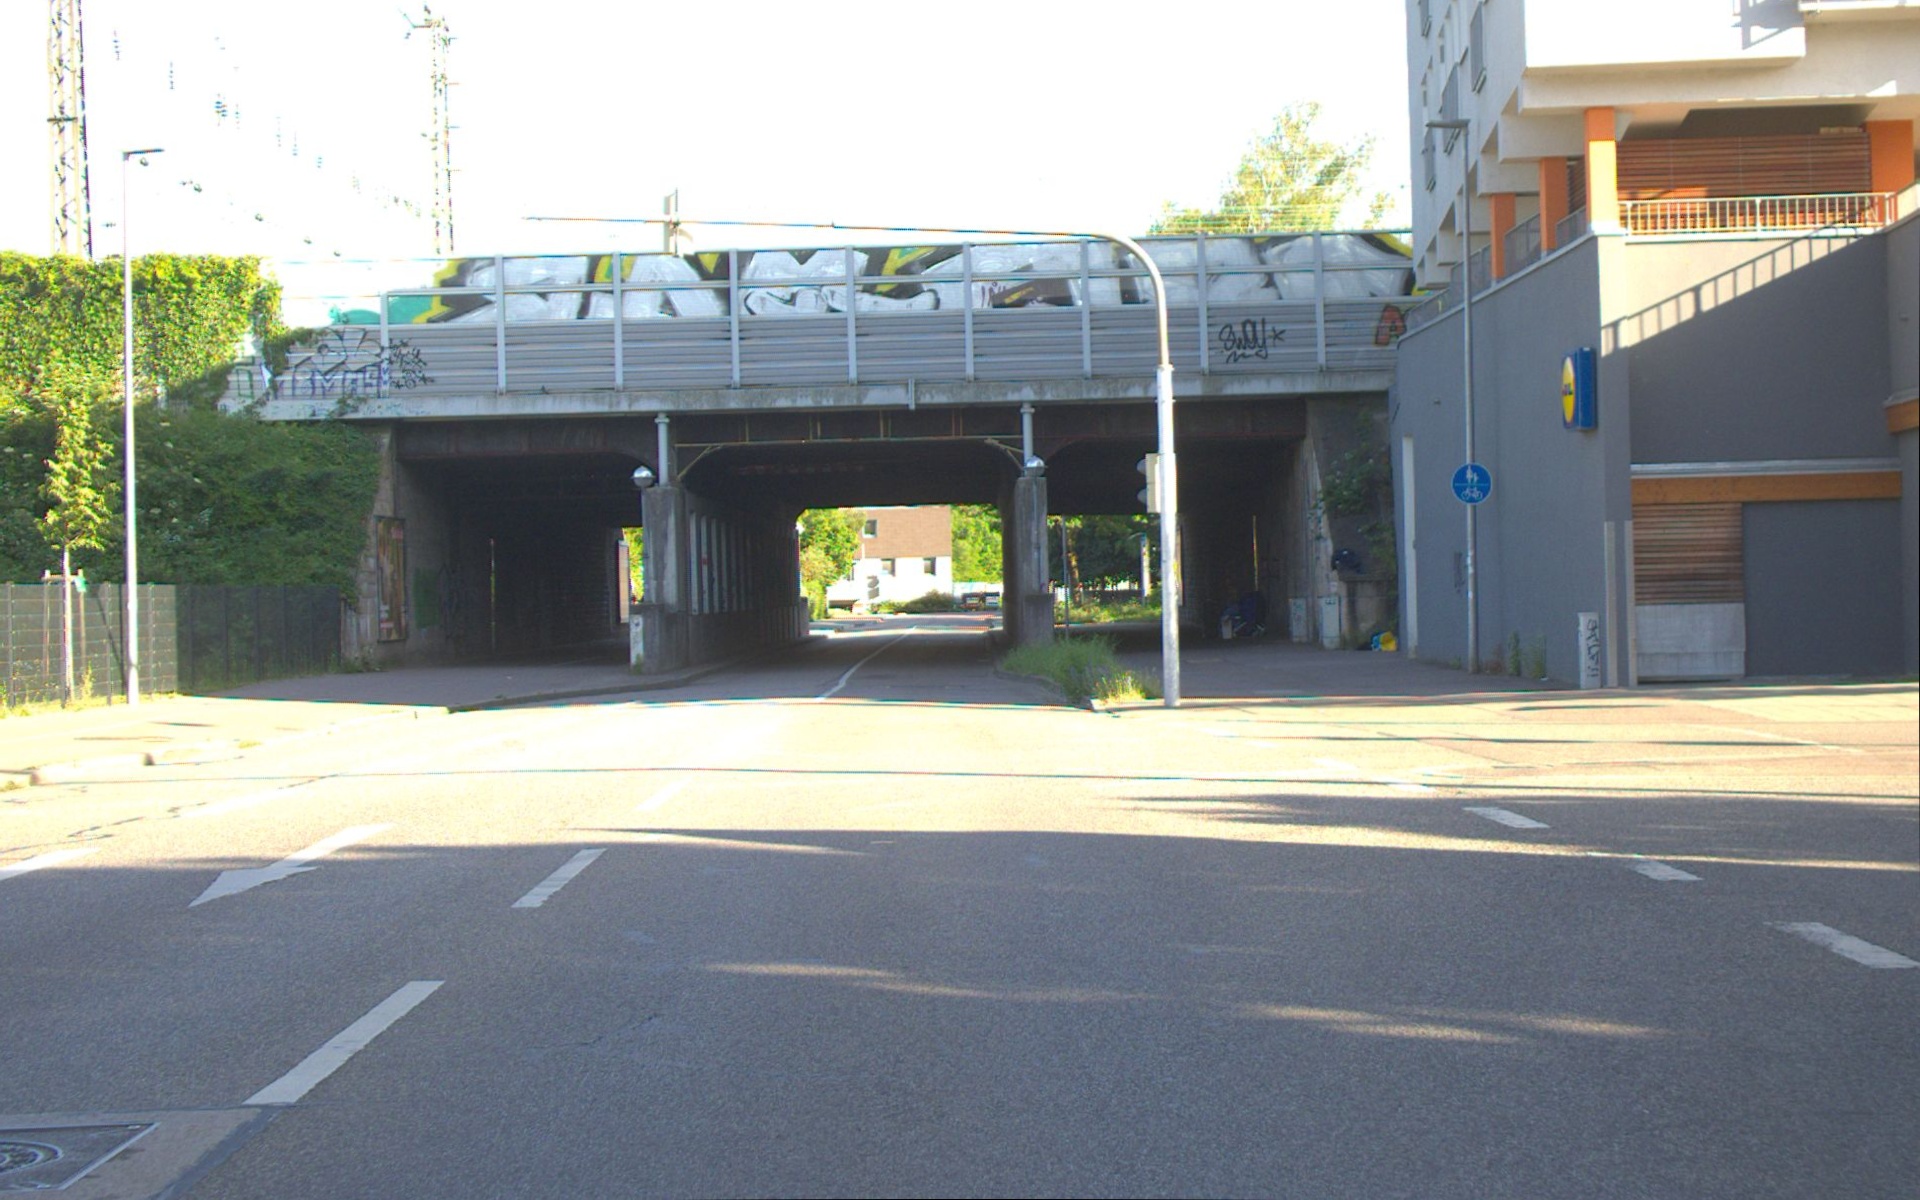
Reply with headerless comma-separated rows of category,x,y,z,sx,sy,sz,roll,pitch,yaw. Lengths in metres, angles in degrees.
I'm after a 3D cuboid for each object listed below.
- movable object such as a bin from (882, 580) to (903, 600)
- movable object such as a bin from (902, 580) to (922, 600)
movable object such as a bin,-4.822,-0.696,245.424,1.364,1.413,1.066,1,0,-7
movable object such as a bin,-3.430,-0.682,245.591,1.364,1.413,1.066,1,0,-7
